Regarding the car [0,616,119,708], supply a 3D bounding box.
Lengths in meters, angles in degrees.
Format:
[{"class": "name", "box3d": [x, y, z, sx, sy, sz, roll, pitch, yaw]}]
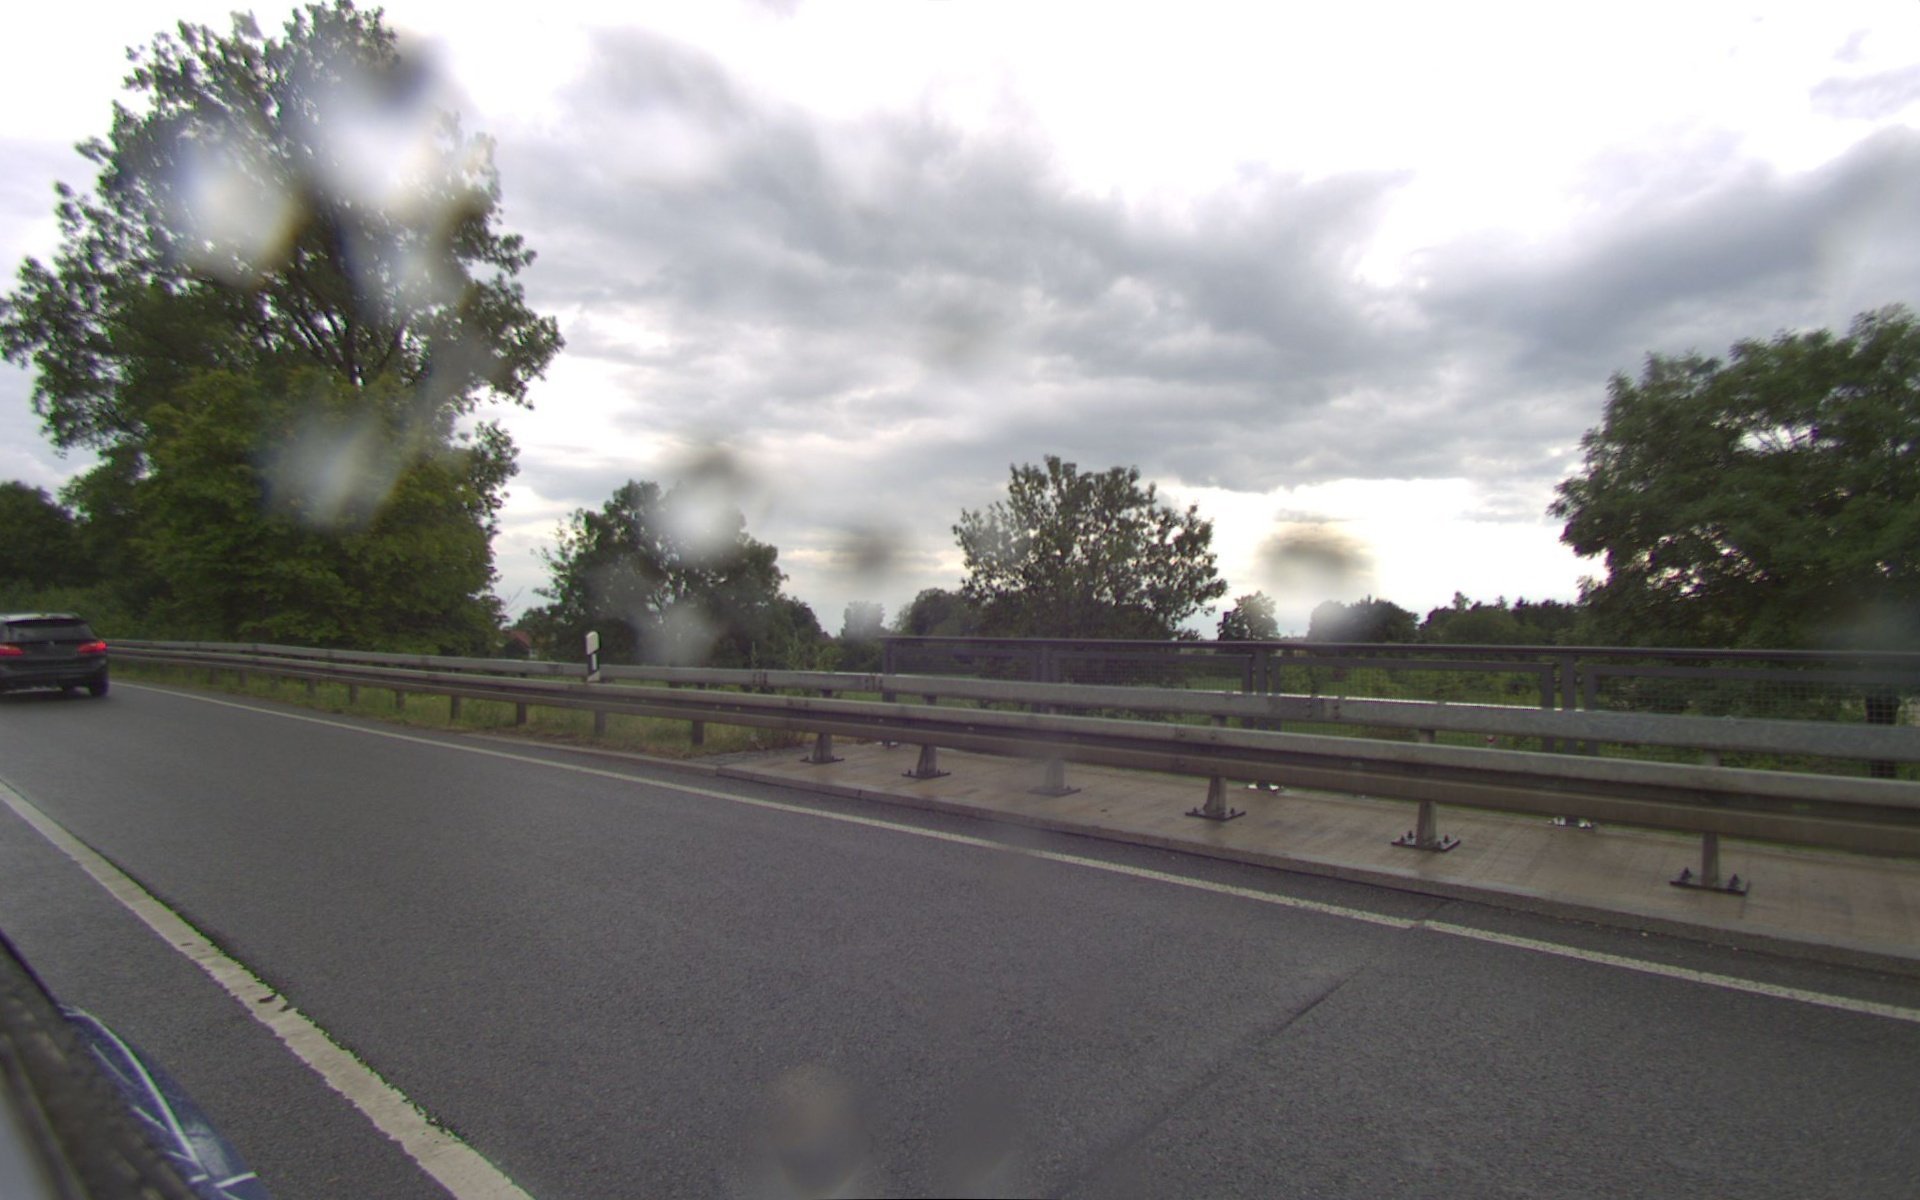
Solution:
[{"class": "car", "box3d": [-17.553, 1.124, 19.068, 4.018, 1.553, 1.881, -2, -1, 39]}]
